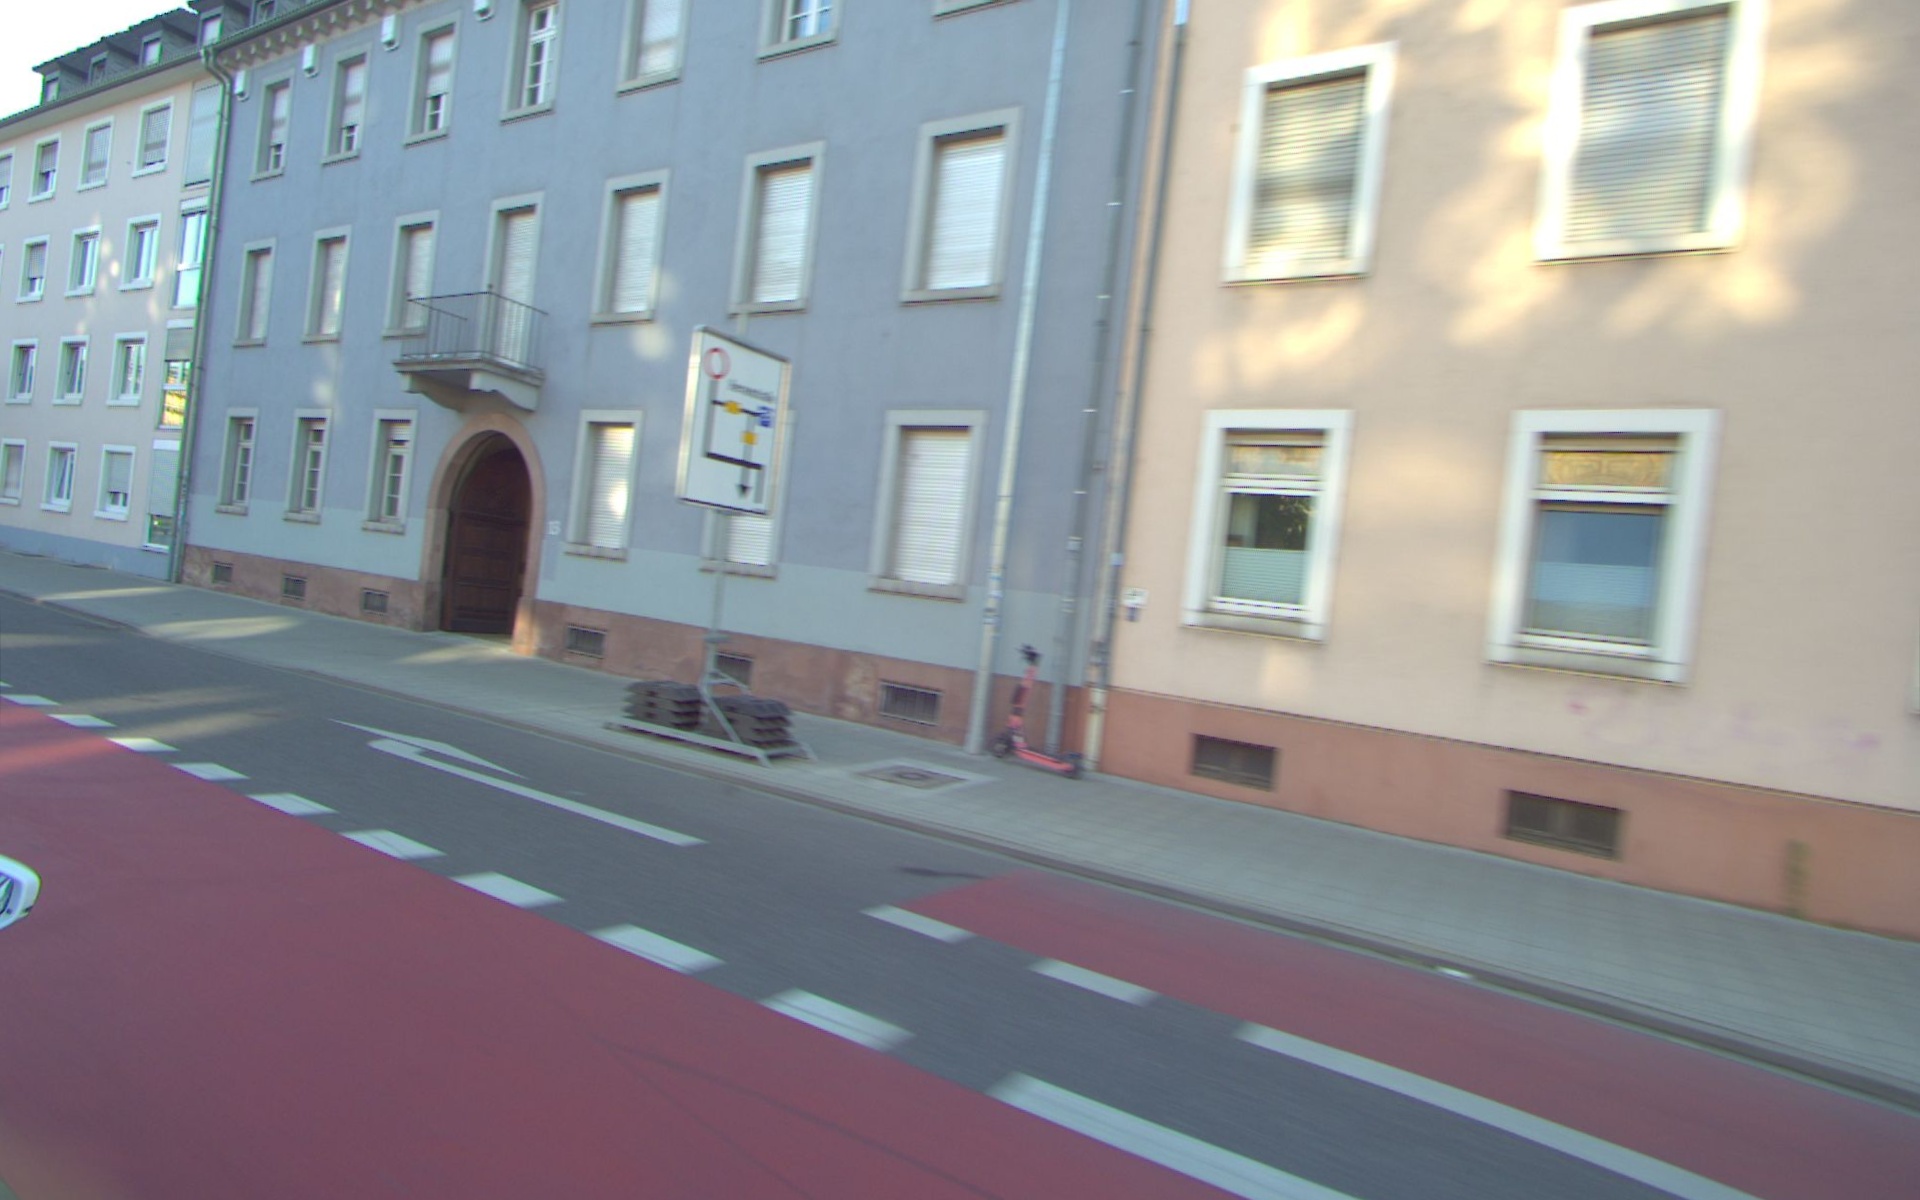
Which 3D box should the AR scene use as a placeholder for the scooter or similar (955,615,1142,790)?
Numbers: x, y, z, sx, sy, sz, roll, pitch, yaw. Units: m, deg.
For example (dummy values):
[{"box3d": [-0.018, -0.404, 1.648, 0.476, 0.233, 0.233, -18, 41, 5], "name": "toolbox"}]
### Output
[{"box3d": [0.872, 0.984, 10.192, 1.648, 1.478, 0.724, 7, 3, 40], "name": "scooter or similar"}]
